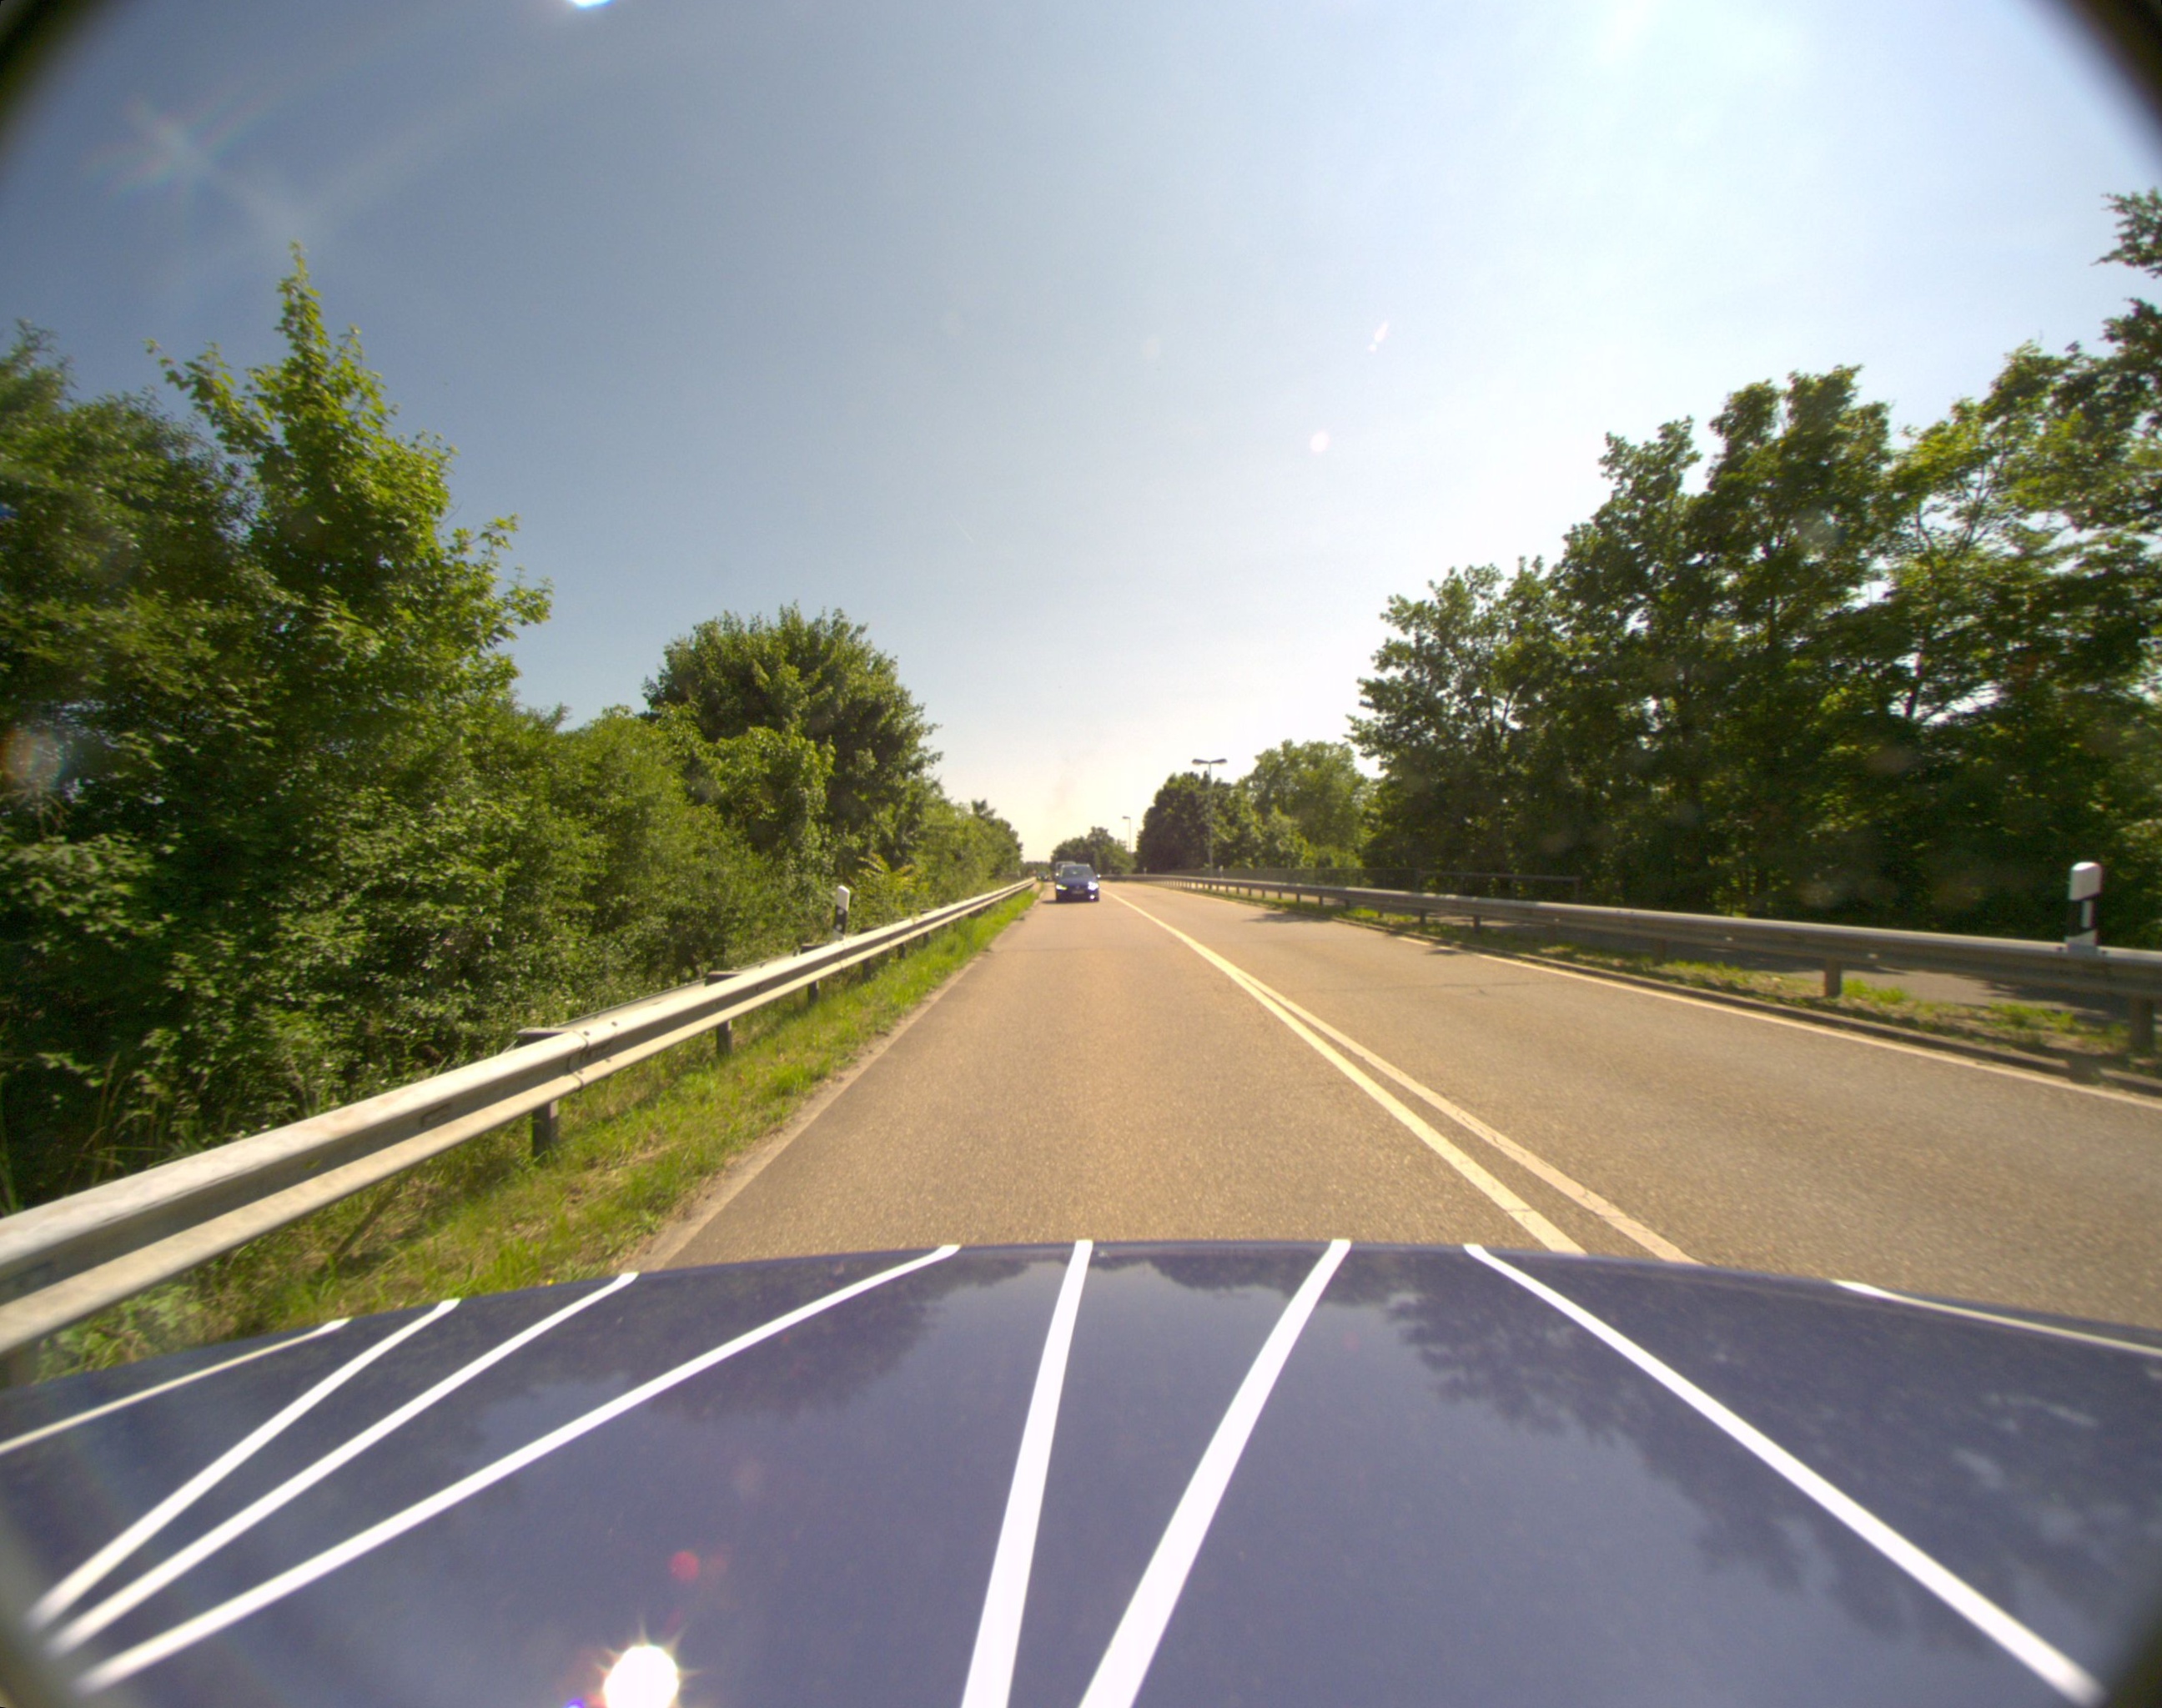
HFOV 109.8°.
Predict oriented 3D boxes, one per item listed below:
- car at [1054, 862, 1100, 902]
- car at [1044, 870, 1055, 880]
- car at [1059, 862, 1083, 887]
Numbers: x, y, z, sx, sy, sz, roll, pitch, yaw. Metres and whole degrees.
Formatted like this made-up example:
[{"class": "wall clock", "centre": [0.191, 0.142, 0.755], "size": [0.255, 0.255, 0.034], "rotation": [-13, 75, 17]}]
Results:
[{"class": "car", "centre": [-0.223, 1.168, 32.463], "size": [1.765, 1.519, 4.422], "rotation": [-2, -1, -2]}, {"class": "car", "centre": [-5.024, 3.316, 121.250], "size": [1.765, 1.530, 3.683], "rotation": [1, 0, -4]}, {"class": "car", "centre": [-0.900, 1.691, 62.819], "size": [1.765, 1.953, 4.261], "rotation": [-2, -1, -3]}]
